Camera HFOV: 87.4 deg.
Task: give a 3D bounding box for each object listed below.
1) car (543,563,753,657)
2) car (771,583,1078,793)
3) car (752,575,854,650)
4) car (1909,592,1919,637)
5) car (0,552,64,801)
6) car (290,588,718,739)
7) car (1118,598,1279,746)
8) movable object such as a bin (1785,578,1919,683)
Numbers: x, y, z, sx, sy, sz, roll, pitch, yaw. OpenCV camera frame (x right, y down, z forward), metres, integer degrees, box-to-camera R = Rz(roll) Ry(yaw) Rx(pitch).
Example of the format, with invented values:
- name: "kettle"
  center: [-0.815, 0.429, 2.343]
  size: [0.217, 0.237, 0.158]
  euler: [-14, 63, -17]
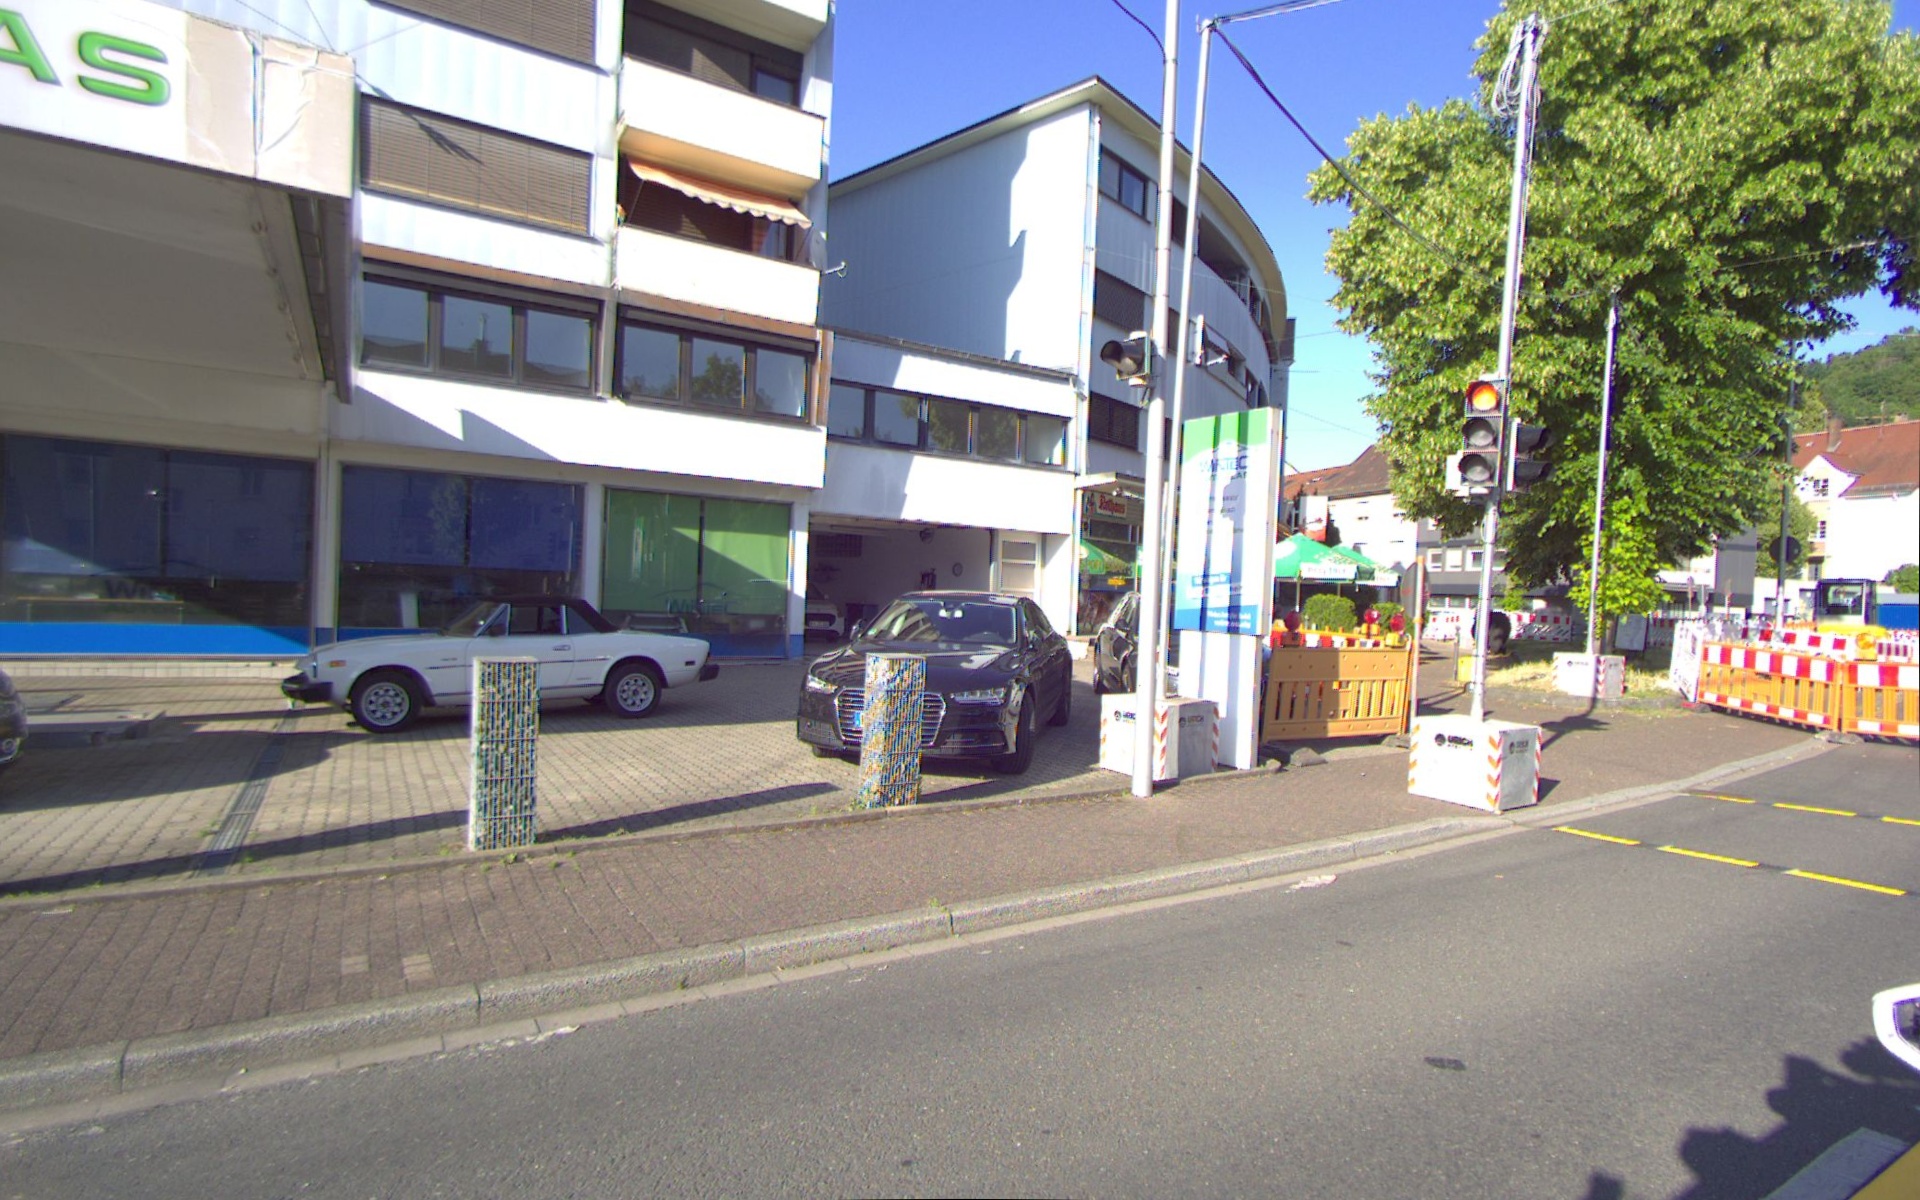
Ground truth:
- name: "car"
  center: [-6.089, 0.216, 19.718]
  size: [3.593, 1.696, 1.707]
  euler: [2, 0, -34]
- name: "car"
  center: [-0.014, 0.648, 9.579]
  size: [1.893, 1.457, 4.692]
  euler: [1, -1, 11]
- name: "car"
  center: [-3.882, 0.251, 24.389]
  size: [1.550, 1.629, 3.734]
  euler: [2, 1, -23]
- name: "car"
  center: [49.542, 0.786, 48.362]
  size: [6.043, 2.149, 2.586]
  euler: [2, 0, -12]
- name: "car"
  center: [-7.471, 0.407, 5.867]
  size: [3.305, 1.506, 1.543]
  euler: [2, 0, 8]
- name: "car"
  center: [-4.665, 0.590, 10.495]
  size: [3.865, 1.315, 1.511]
  euler: [1, -1, -35]
- name: "car"
  center: [2.769, 0.743, 12.088]
  size: [1.564, 1.457, 3.887]
  euler: [1, 0, 11]
- name: "movable object such as a bin"
  center: [21.540, 0.699, 24.169]
  size: [3.882, 2.356, 1.635]
  euler: [1, 0, -36]
